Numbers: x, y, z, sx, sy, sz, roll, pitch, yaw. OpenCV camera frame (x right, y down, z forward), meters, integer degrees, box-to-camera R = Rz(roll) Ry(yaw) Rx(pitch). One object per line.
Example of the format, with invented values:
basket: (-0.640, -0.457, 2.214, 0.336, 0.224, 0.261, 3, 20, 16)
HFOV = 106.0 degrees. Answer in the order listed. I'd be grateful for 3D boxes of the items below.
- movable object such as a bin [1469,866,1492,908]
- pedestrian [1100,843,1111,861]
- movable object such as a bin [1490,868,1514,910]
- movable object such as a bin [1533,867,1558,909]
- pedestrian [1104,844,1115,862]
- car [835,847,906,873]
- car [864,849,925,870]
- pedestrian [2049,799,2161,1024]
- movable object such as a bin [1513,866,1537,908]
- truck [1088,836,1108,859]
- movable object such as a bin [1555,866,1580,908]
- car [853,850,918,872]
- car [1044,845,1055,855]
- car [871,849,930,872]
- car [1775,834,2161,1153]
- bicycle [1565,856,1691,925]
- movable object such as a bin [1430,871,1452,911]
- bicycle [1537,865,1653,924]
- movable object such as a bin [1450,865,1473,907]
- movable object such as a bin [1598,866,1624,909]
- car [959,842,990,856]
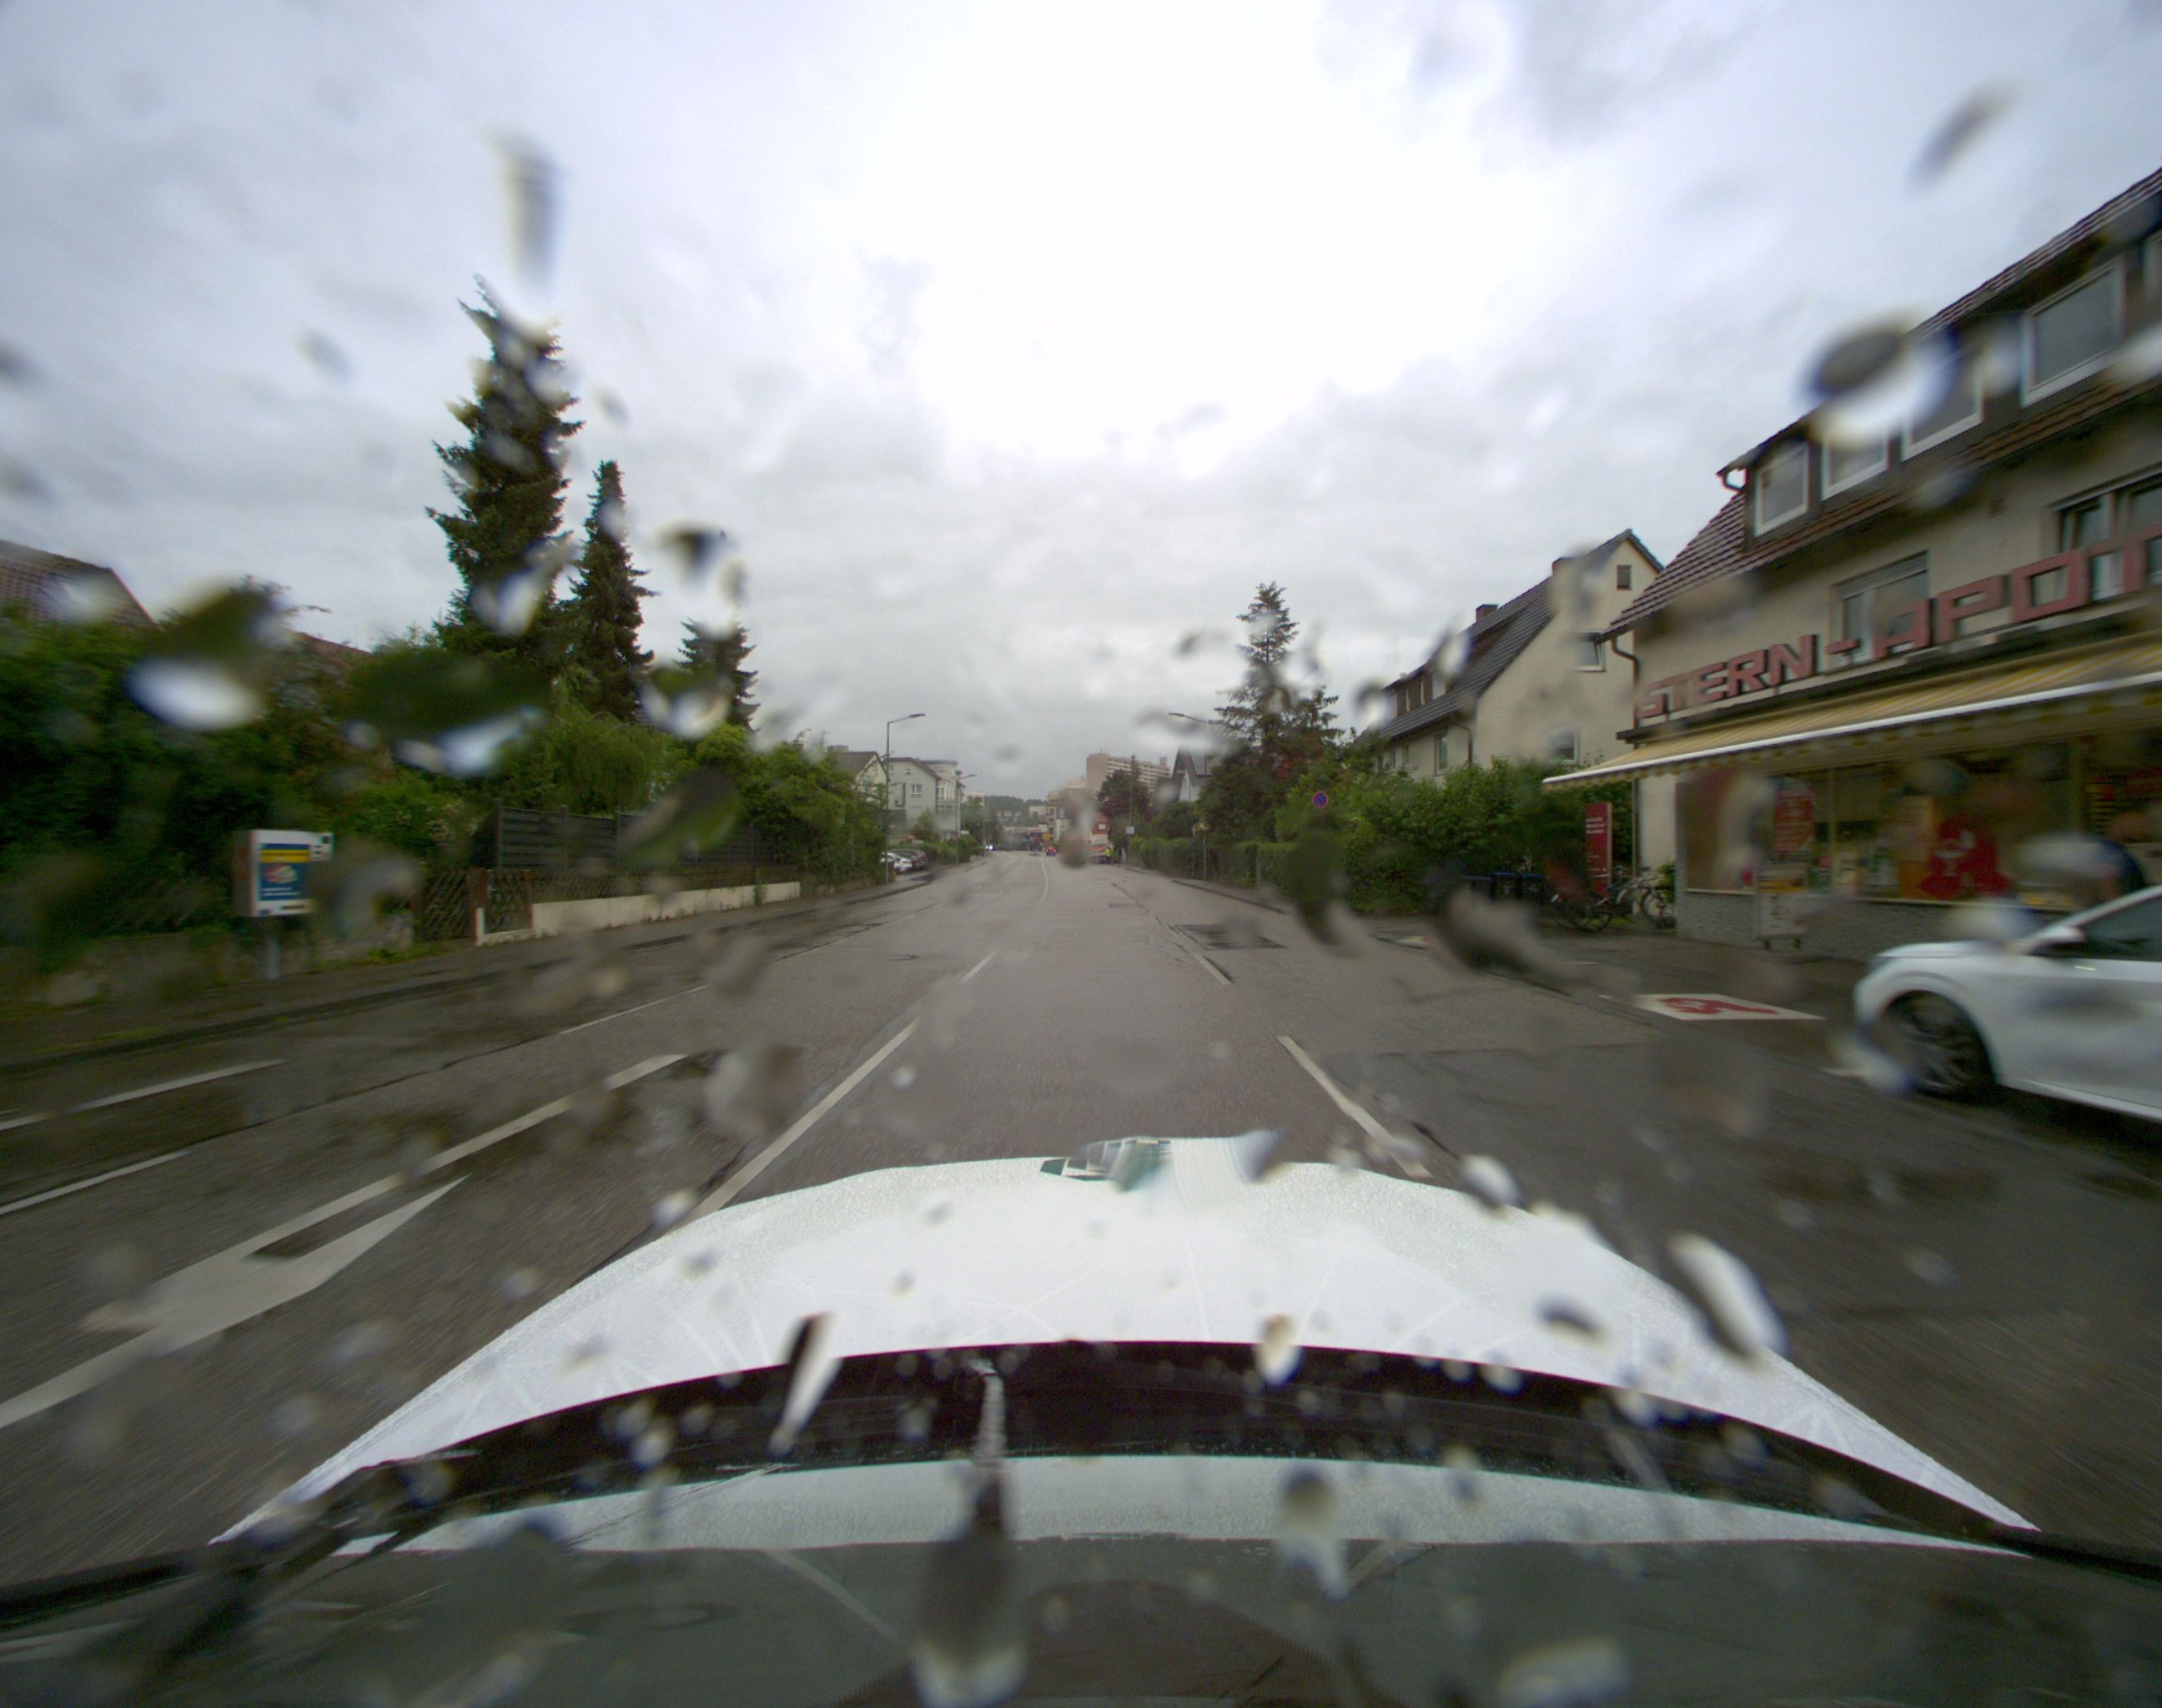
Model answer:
movable object such as a bin: (9.517, 0.789, 19.397, 0.365, 0.987, 0.355, -1, 0, -1)
pedestrian: (2.472, -0.183, 80.828, 0.826, 1.726, 0.835, -1, 0, -20)
movable object such as a bin: (10.019, 0.823, 19.393, 0.365, 0.987, 0.355, -1, 0, -1)
movable object such as a bin: (11.069, 0.806, 19.415, 0.365, 0.987, 0.355, -1, 0, -1)
pedestrian: (2.761, -0.123, 80.015, 0.826, 1.797, 0.795, -1, 0, -21)
car: (-13.784, 0.415, 53.494, 4.082, 1.585, 1.958, 1, 0, 2)
car: (-13.462, 0.378, 58.919, 3.968, 1.446, 1.708, -1, 0, 4)
pedestrian: (8.120, 0.430, 6.457, 0.554, 1.678, 0.511, 0, -1, -35)
movable object such as a bin: (10.580, 0.785, 19.413, 0.365, 0.987, 0.355, -1, 0, -1)
truck: (1.761, -0.662, 84.745, 1.986, 2.303, 4.001, 0, 0, 1)
movable object such as a bin: (11.598, 0.775, 19.402, 0.365, 0.987, 0.355, -1, 0, -1)
car: (-13.458, 0.460, 56.219, 3.970, 1.434, 1.973, 1, 0, 3)
car: (-5.361, -0.609, 139.957, 1.789, 1.669, 3.998, -1, 0, -1)
car: (-13.749, 0.480, 62.192, 3.957, 1.686, 1.816, -1, 0, 15)
car: (5.866, 0.623, 3.777, 1.808, 1.448, 4.206, -2, 0, 2)
bicycle: (9.392, 0.629, 14.055, 1.632, 1.048, 0.626, -5, -2, 21)
movable object such as a bin: (8.560, 0.879, 19.362, 0.365, 0.916, 0.327, -1, 0, -1)
bicycle: (9.287, 0.737, 14.781, 1.632, 0.933, 0.626, -5, -2, 21)
movable object such as a bin: (9.054, 0.757, 19.386, 0.365, 0.987, 0.355, -1, 0, -1)
movable object such as a bin: (12.414, 0.776, 19.078, 0.365, 0.987, 0.355, -1, 0, -1)
car: (-16.711, -0.757, 127.938, 4.493, 2.013, 2.006, 1, 0, 11)
